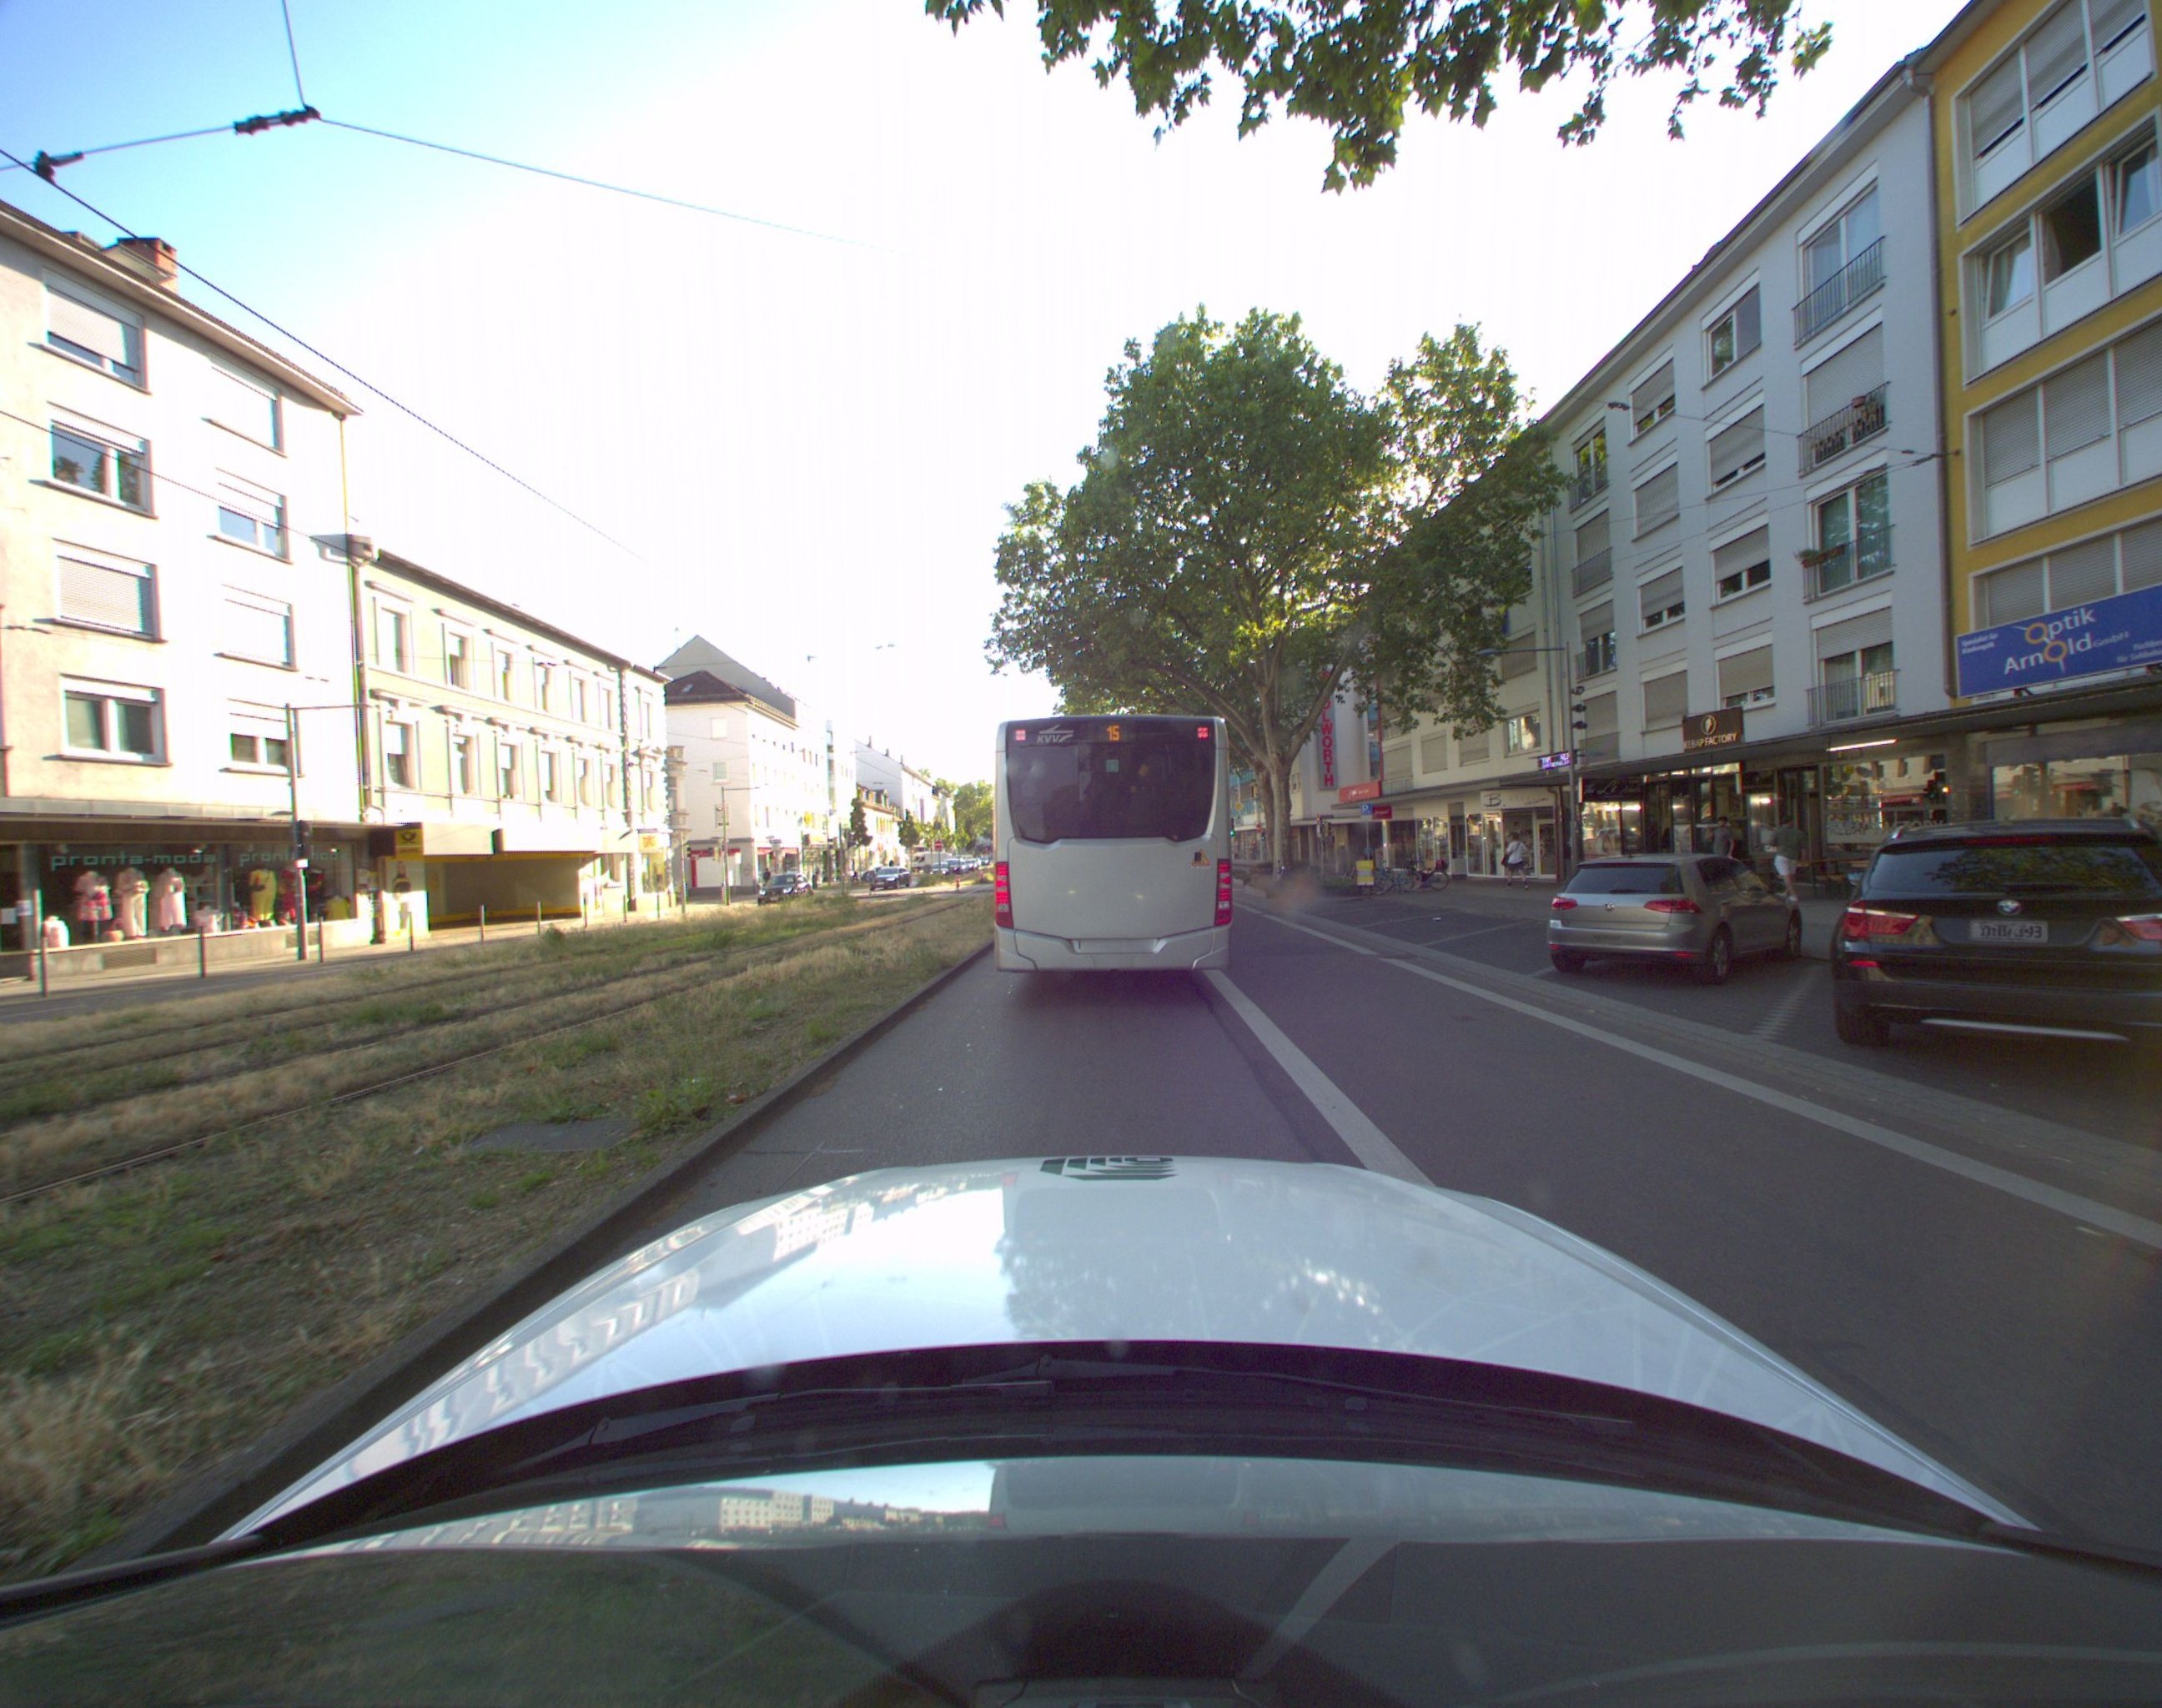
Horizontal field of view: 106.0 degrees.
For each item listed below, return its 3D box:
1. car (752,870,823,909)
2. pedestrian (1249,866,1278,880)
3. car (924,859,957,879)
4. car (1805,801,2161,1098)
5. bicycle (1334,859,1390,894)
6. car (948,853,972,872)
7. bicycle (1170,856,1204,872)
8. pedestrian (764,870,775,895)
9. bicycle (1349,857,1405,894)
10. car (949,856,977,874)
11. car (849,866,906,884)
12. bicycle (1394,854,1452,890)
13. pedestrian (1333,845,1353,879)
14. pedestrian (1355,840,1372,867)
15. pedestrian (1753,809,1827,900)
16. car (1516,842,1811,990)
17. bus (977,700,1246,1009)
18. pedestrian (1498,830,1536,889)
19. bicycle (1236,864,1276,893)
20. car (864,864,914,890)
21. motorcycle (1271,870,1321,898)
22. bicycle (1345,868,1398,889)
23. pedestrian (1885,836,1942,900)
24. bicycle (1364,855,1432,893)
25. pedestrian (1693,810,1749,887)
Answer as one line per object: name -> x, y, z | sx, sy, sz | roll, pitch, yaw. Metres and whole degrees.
car -> -13.368, 1.607, 37.331 | 1.715, 1.509, 3.479 | -5, -1, 3
pedestrian -> 8.753, 0.909, 39.072 | 1.250, 0.589, 0.482 | -1, -1, 0
car -> -12.193, 1.310, 70.828 | 1.773, 1.450, 4.049 | -4, 1, 4
car -> 7.360, 0.502, 6.390 | 4.172, 1.681, 1.789 | -2, -1, -39
bicycle -> 10.798, 0.863, 31.378 | 1.865, 1.189, 0.713 | -5, -1, 10
car -> -13.316, 0.922, 89.795 | 1.988, 2.013, 3.998 | -2, 0, -1
bicycle -> 7.664, 0.734, 58.803 | 2.307, 1.028, 0.835 | -2, 1, -7
pedestrian -> -21.023, 1.923, 54.989 | 0.423, 1.713, 0.509 | -2, -1, 6
bicycle -> 11.024, 0.789, 30.363 | 1.783, 1.189, 0.671 | -5, -1, -7
car -> -11.494, 1.087, 79.775 | 1.772, 1.615, 4.513 | -2, 0, 4
car -> -18.297, 1.852, 73.307 | 4.571, 1.412, 1.978 | -2, 0, -35
bicycle -> 12.283, 0.637, 29.251 | 1.753, 1.154, 0.680 | -4, -1, 10
pedestrian -> 14.067, 0.432, 43.815 | 0.777, 1.794, 0.764 | -2, -1, 2
pedestrian -> 18.373, -0.057, 53.036 | 0.746, 1.679, 0.834 | -2, 2, -4
pedestrian -> 14.748, 0.015, 16.961 | 0.703, 1.791, 0.789 | -6, -1, 7
car -> 7.541, 0.654, 10.414 | 4.196, 1.451, 1.790 | -2, -1, -36
bus -> 0.490, 0.003, 11.811 | 2.667, 3.083, 7.119 | -1, 0, 3
pedestrian -> 14.055, 0.179, 26.261 | 0.643, 1.876, 0.821 | -2, -1, -12
bicycle -> 7.034, 0.974, 32.770 | 1.503, 1.105, 0.460 | 1, 0, 2
car -> -12.806, 1.506, 54.558 | 1.986, 1.559, 4.777 | -2, 0, 2
motorcycle -> 7.431, 1.037, 28.214 | 1.566, 0.892, 0.544 | -3, -1, -2
bicycle -> 11.532, 0.975, 32.387 | 1.864, 0.765, 0.713 | -2, 0, 10
pedestrian -> 15.763, 0.261, 15.432 | 0.416, 1.157, 0.626 | -2, -1, 5
bicycle -> 11.226, 0.700, 28.904 | 2.069, 1.233, 0.833 | -3, -1, 6
pedestrian -> 16.182, -0.142, 20.605 | 0.915, 1.876, 0.731 | -2, -1, -27
